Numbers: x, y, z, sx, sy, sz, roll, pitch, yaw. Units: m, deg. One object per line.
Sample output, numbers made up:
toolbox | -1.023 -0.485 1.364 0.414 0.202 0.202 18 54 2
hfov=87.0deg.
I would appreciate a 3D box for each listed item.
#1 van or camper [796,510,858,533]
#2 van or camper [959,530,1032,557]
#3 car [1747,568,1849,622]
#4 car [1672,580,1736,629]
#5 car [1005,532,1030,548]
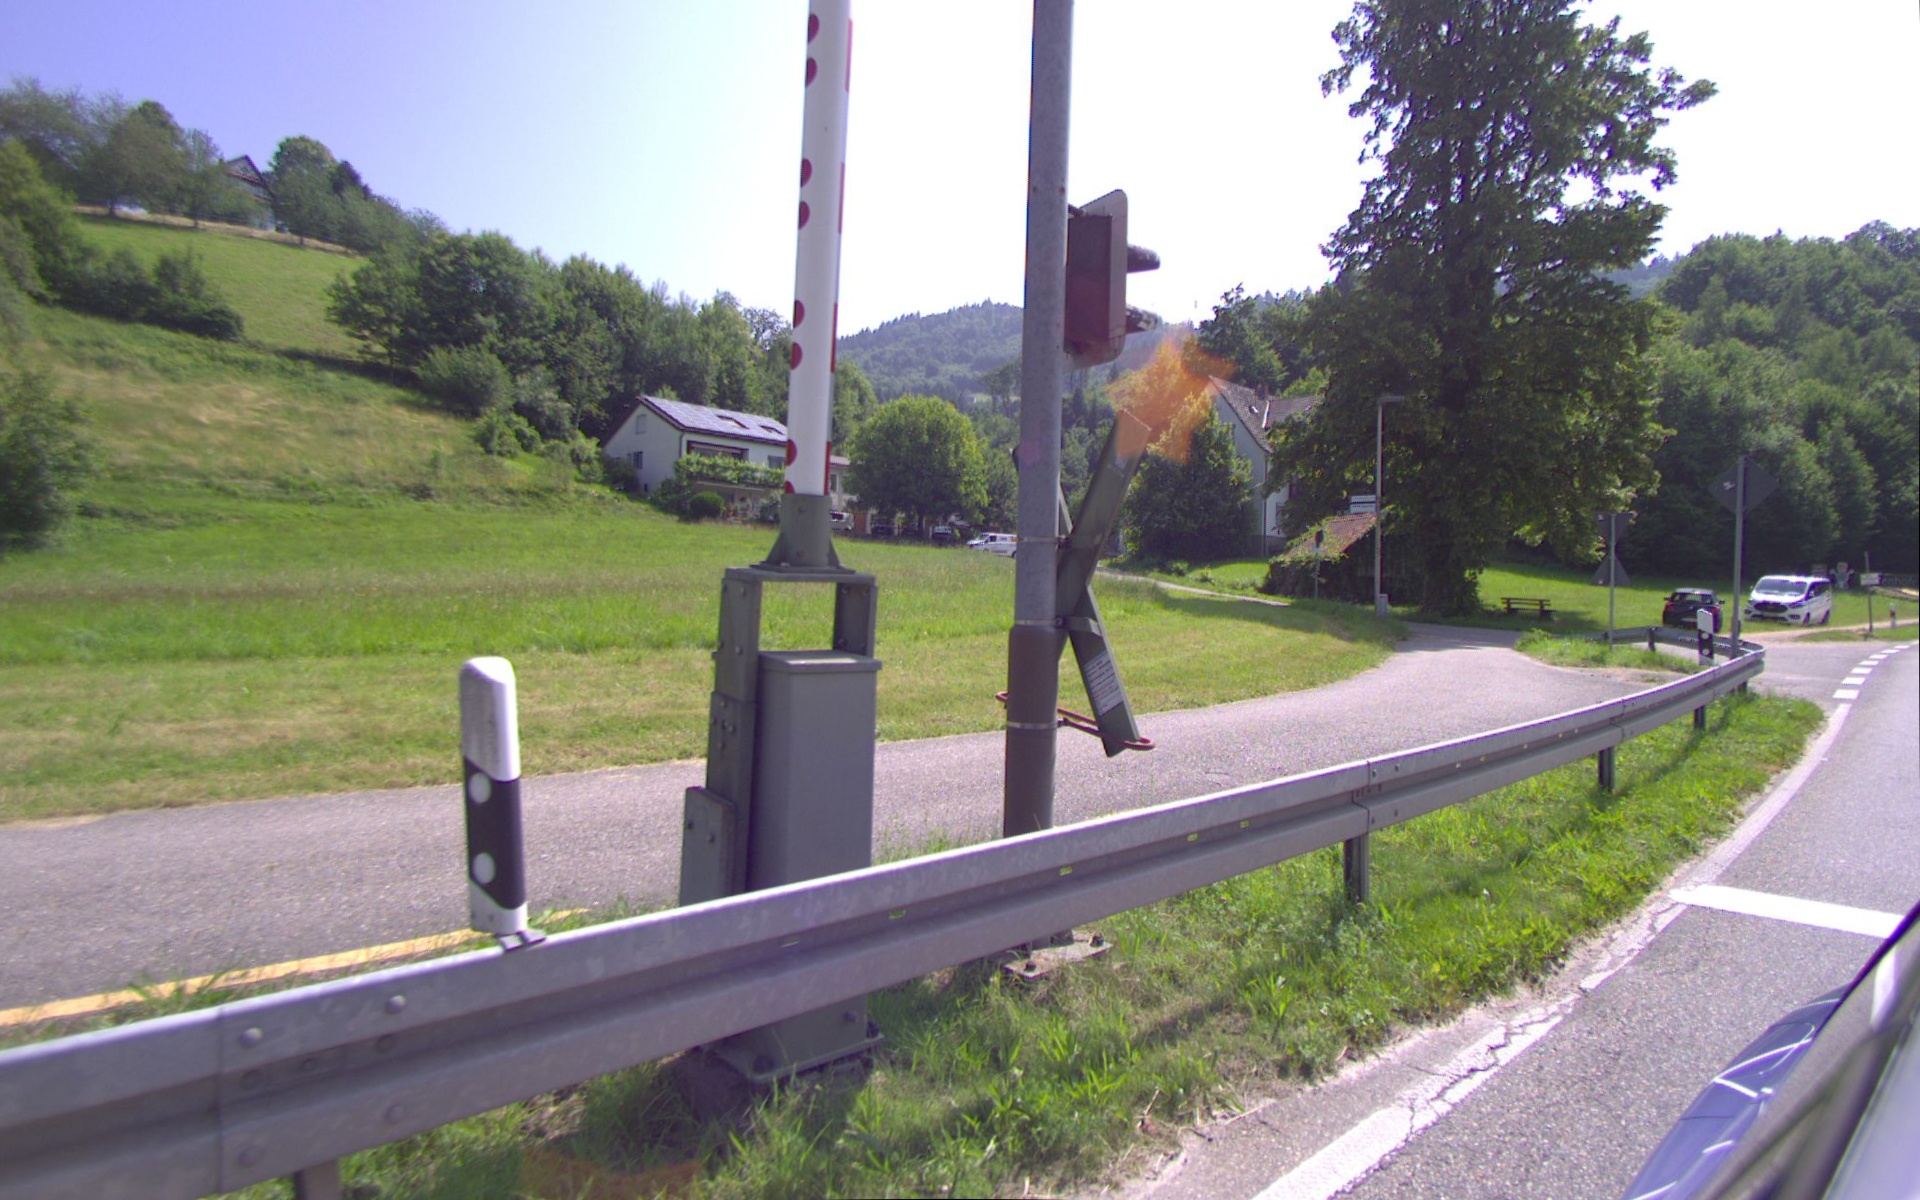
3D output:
van or camper | -11.000 -6.475 83.908 2.025 1.661 4.971 3 3 42
van or camper | 2.872 -4.567 81.657 5.338 1.973 2.817 0 3 -38
car | 33.662 -0.243 40.616 4.780 1.869 2.007 -1 7 -38
car | 26.574 0.120 36.100 1.671 1.474 3.666 4 5 38
car | 6.591 -6.853 115.266 1.973 1.638 3.979 2 2 17
